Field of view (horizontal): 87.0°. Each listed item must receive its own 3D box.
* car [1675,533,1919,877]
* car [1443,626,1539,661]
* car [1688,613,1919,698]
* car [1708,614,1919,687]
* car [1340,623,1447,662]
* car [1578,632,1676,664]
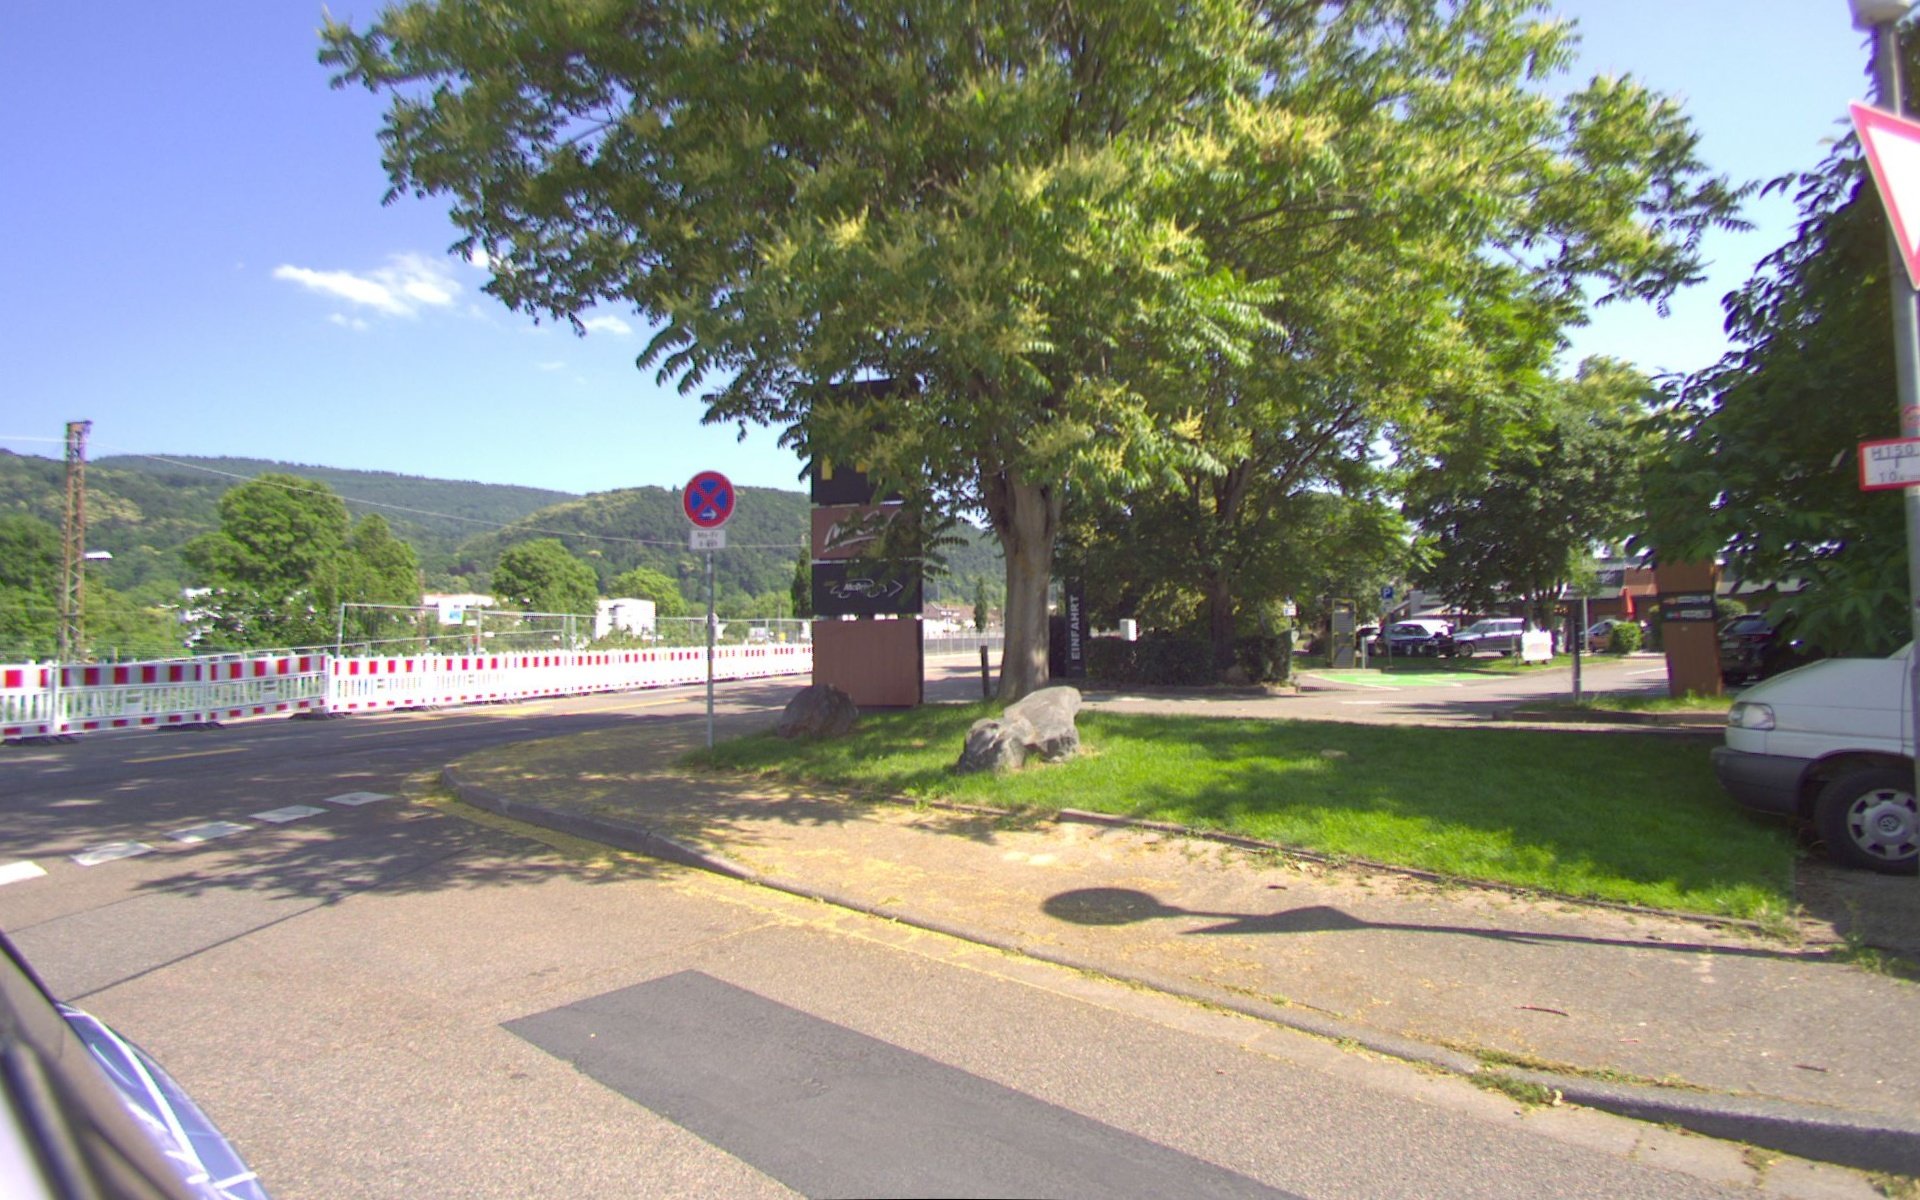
[{"bbox_3d":[7.099,0.650,5.353,1.969,1.945,5.108,5,-3,-41],"label":"car"},{"bbox_3d":[24.252,1.982,46.323,3.477,1.568,1.695,0,-2,6],"label":"car"},{"bbox_3d":[14.400,0.905,16.830,3.349,1.343,1.663,0,-2,-2],"label":"car"},{"bbox_3d":[16.686,0.962,19.445,3.349,1.343,1.663,0,-2,-2],"label":"car"},{"bbox_3d":[15.364,1.497,35.883,3.383,1.343,1.682,-1,-2,28],"label":"car"},{"bbox_3d":[35.054,2.514,53.324,3.976,1.652,1.984,-1,-2,24],"label":"car"}]
